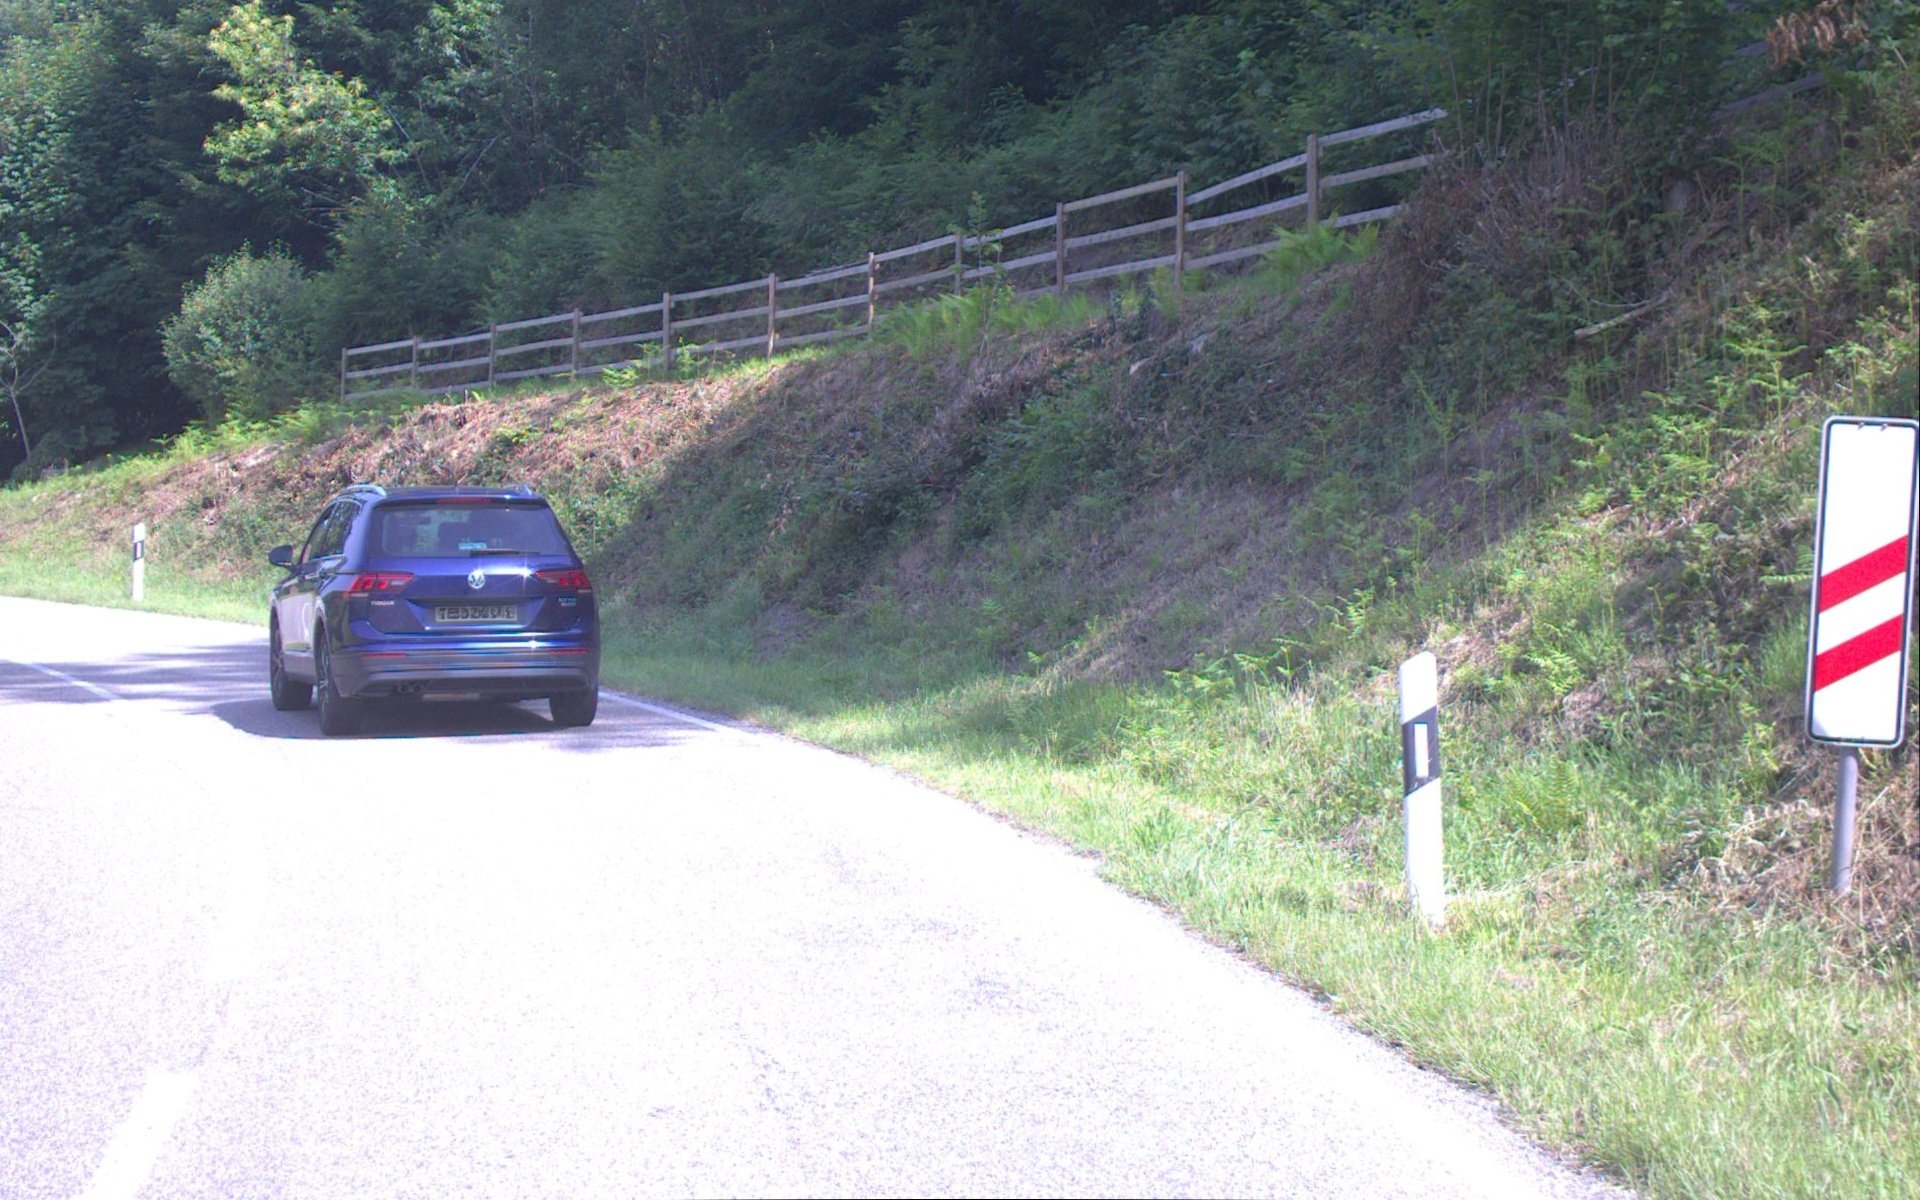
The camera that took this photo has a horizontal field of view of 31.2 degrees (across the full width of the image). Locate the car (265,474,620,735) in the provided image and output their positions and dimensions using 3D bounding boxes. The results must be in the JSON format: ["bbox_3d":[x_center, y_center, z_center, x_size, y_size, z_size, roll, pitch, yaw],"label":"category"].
[{"bbox_3d":[-3.684,-0.033,23.887,1.852,1.643,4.141,0,2,-17],"label":"car"}]
